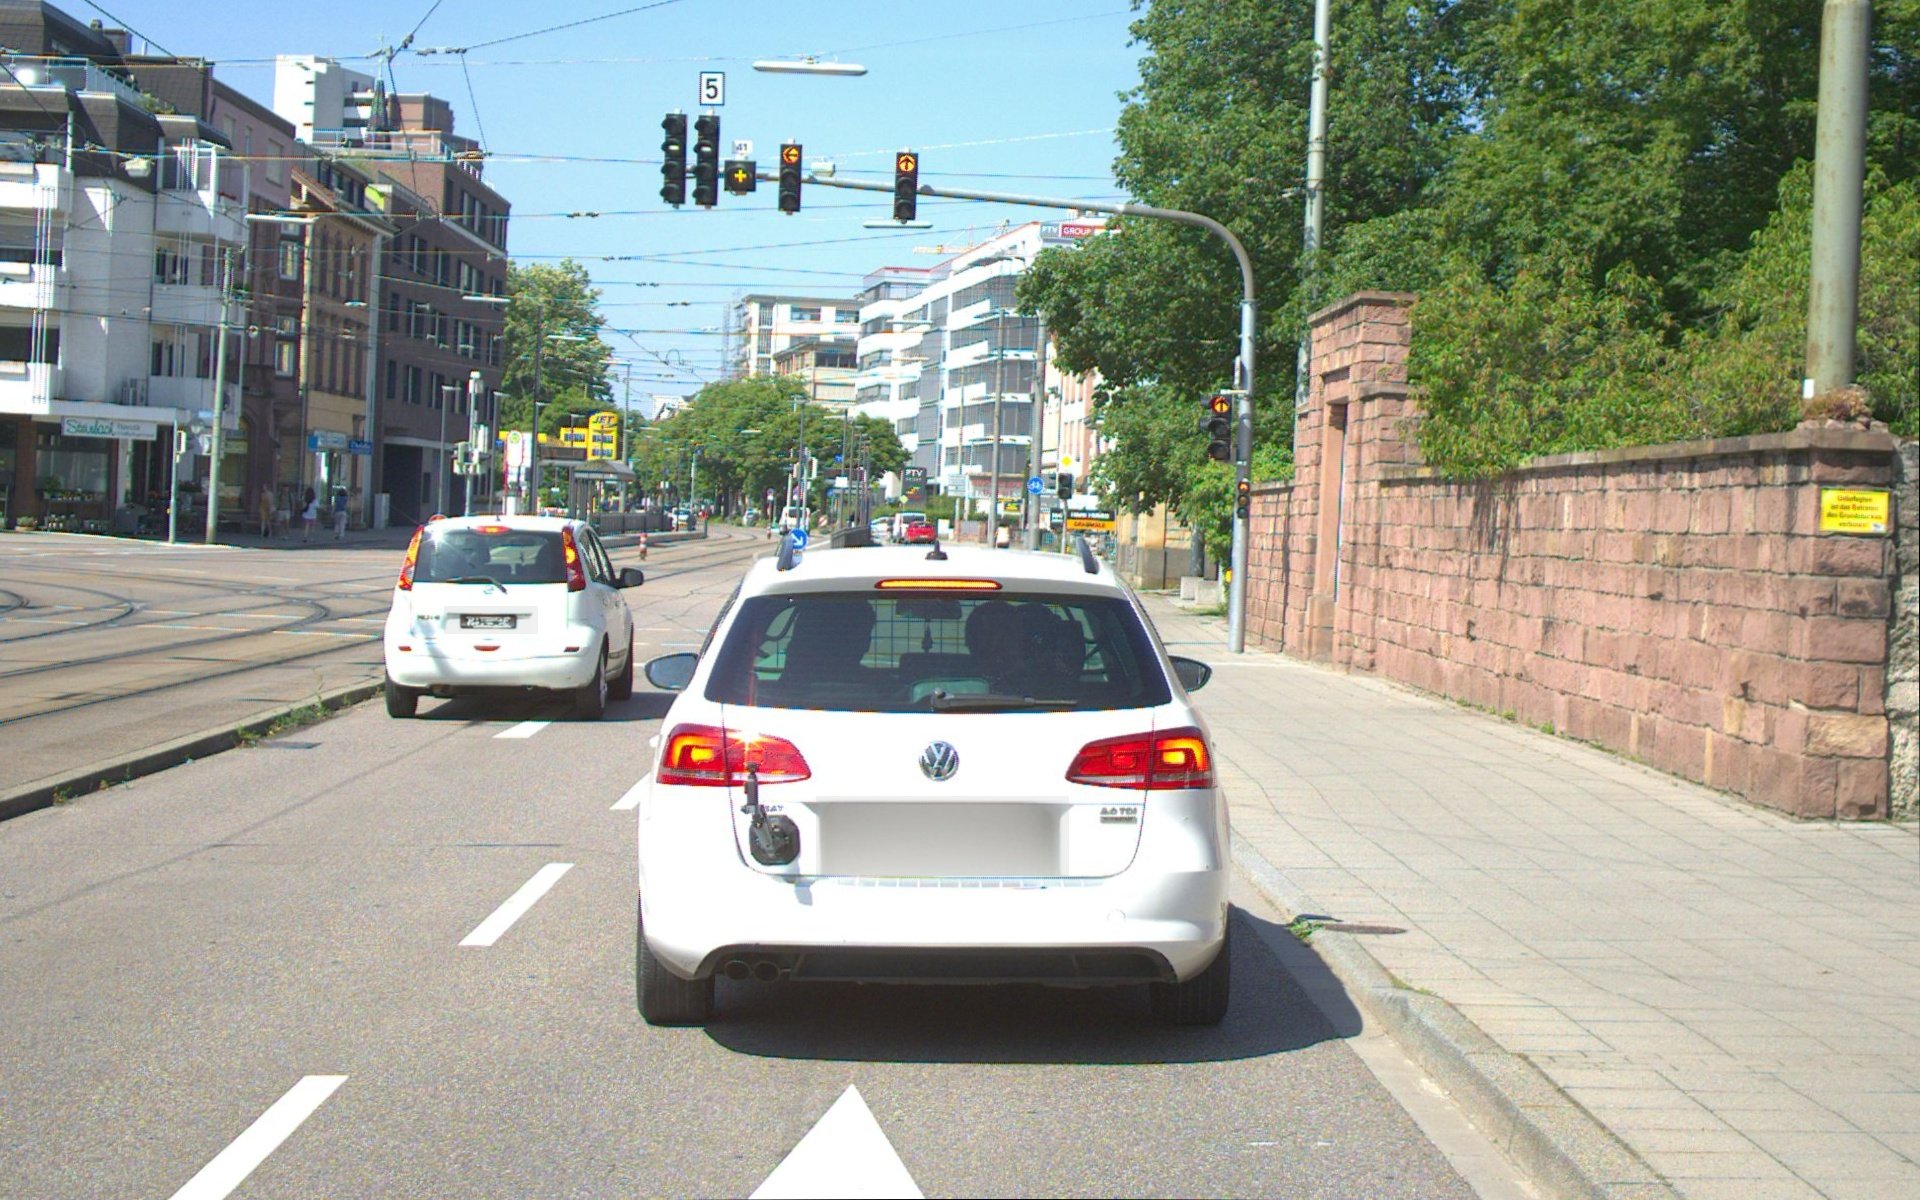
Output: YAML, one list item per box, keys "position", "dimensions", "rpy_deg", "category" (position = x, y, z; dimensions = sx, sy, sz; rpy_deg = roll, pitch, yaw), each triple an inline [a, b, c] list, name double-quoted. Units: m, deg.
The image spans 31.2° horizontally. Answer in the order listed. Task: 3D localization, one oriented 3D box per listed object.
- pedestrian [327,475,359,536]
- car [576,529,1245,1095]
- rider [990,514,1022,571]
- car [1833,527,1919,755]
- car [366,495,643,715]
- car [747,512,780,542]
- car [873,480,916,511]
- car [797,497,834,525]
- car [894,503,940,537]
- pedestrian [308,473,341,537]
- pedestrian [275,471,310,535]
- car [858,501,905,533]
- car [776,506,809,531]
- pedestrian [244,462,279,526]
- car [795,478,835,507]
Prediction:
- position: [-20.849, -3.198, 116.173]
  dimensions: [0.936, 2.007, 0.991]
  rpy_deg: [2, 1, -6]
  category: "pedestrian"
- position: [-0.125, 0.531, 11.179]
  dimensions: [1.778, 1.485, 3.847]
  rpy_deg: [1, 1, 0]
  category: "car"
- position: [1.427, -1.815, 107.457]
  dimensions: [0.891, 1.722, 2.204]
  rpy_deg: [2, 1, 0]
  category: "rider"
- position: [7.753, 0.323, 22.901]
  dimensions: [3.407, 1.459, 1.524]
  rpy_deg: [3, 1, 0]
  category: "car"
- position: [-3.593, -0.012, 27.717]
  dimensions: [1.730, 1.590, 4.011]
  rpy_deg: [2, 1, -1]
  category: "car"
- position: [-11.016, -4.098, 193.134]
  dimensions: [1.698, 1.585, 3.535]
  rpy_deg: [2, 1, -1]
  category: "car"
- position: [-4.473, -7.082, 233.730]
  dimensions: [1.993, 2.007, 4.002]
  rpy_deg: [2, 1, -14]
  category: "car"
- position: [-10.938, -6.712, 259.919]
  dimensions: [1.993, 2.007, 4.002]
  rpy_deg: [2, 1, -14]
  category: "car"
- position: [-2.776, -5.115, 219.581]
  dimensions: [1.993, 2.007, 4.002]
  rpy_deg: [2, 1, -14]
  category: "car"
- position: [-20.447, -3.057, 110.643]
  dimensions: [0.936, 2.007, 0.991]
  rpy_deg: [2, 1, -7]
  category: "pedestrian"
- position: [-21.424, -3.107, 110.316]
  dimensions: [0.936, 2.007, 0.991]
  rpy_deg: [2, 1, -6]
  category: "pedestrian"
- position: [-4.921, -5.194, 214.521]
  dimensions: [1.993, 1.897, 4.002]
  rpy_deg: [2, 1, -14]
  category: "car"
- position: [-11.239, -5.502, 230.772]
  dimensions: [1.698, 1.585, 3.536]
  rpy_deg: [2, 1, -11]
  category: "car"
- position: [-22.354, -3.379, 109.973]
  dimensions: [0.936, 2.007, 0.991]
  rpy_deg: [2, 1, -4]
  category: "pedestrian"
- position: [-10.774, -7.996, 255.305]
  dimensions: [1.993, 2.006, 4.002]
  rpy_deg: [4, 1, -16]
  category: "car"
